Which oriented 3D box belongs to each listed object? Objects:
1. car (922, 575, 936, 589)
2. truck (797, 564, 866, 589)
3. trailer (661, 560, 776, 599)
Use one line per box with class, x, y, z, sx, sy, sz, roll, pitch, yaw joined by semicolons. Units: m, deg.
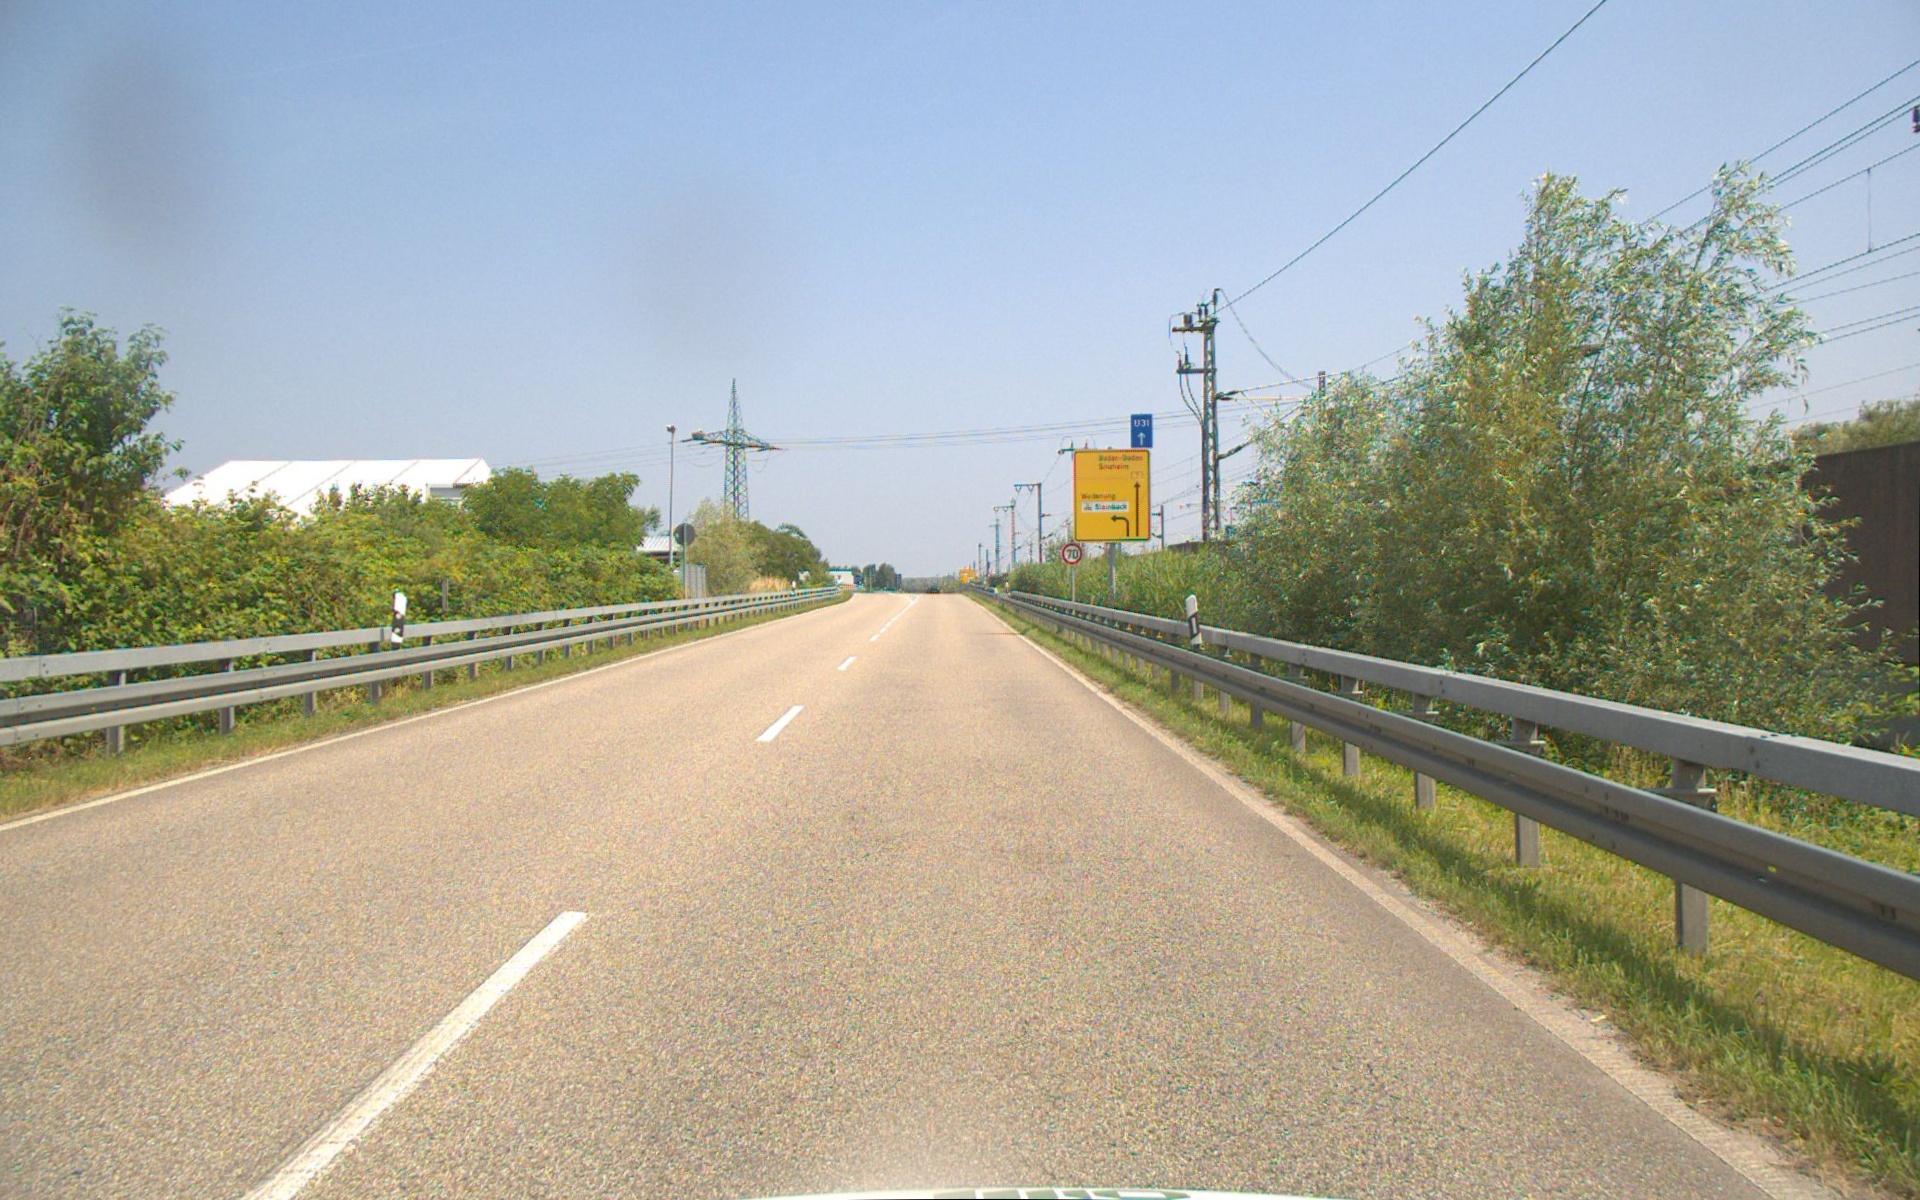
car;-4.735;-2.753;253.362;1.954;2.048;3.997;0;1;-5
truck;-19.047;-3.507;245.631;10.207;3.695;2.843;0;1;-4
trailer;-11.795;-1.029;81.061;5.277;1.881;2.544;0;1;-2
